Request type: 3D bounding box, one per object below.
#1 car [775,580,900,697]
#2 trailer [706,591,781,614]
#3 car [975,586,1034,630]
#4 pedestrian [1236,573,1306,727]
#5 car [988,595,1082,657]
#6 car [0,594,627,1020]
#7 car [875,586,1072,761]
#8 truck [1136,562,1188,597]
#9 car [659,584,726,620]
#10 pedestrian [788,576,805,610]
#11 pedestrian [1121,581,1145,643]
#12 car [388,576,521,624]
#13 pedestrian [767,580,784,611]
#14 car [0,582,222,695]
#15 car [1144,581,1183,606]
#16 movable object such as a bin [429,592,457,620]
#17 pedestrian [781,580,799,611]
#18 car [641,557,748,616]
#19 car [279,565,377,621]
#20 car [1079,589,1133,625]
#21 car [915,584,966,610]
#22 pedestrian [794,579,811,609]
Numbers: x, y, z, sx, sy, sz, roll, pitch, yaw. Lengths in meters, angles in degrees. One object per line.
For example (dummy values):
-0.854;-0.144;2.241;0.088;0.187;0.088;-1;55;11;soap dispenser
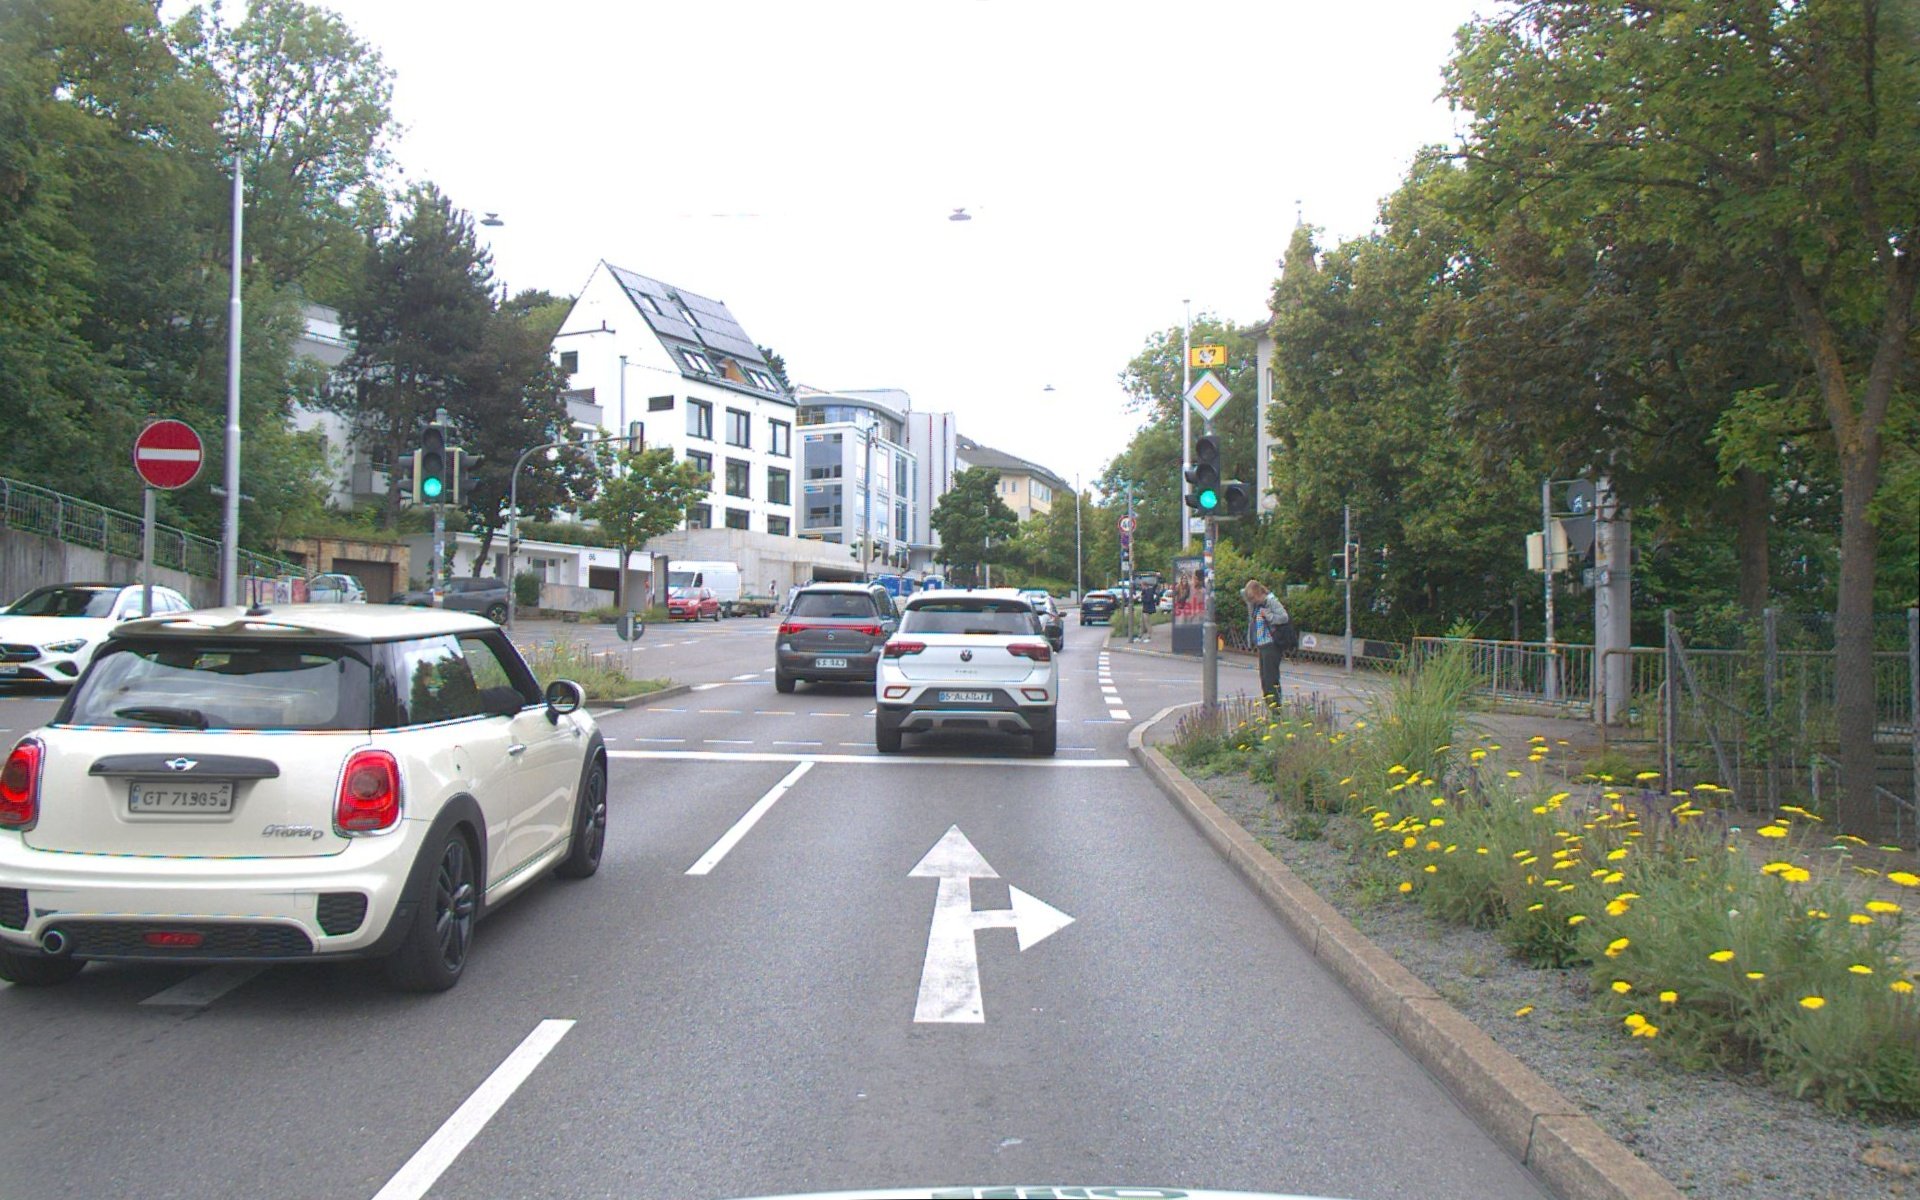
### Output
-1.860;0.534;26.252;1.776;1.681;4.634;0;1;-2;car
-10.898;0.115;83.659;2.198;1.131;4.626;0;1;14;trailer
1.805;0.280;65.508;1.818;1.681;4.640;0;1;8;car
3.552;0.562;18.877;0.679;1.718;0.620;-1;-1;20;pedestrian
2.138;0.690;45.825;1.833;1.527;4.559;3;0;12;car
-2.644;0.695;7.390;1.594;1.417;3.566;0;1;0;car
0.040;0.652;16.843;1.775;1.566;3.688;0;1;-3;car
18.270;-1.802;149.140;2.899;3.023;8.982;1;1;19;truck
-11.433;0.069;70.920;1.587;1.491;3.930;0;1;10;car
-9.023;-0.384;91.200;0.668;1.872;0.664;2;1;-34;pedestrian
5.330;0.362;50.935;0.678;1.866;0.620;2;0;6;pedestrian
-16.950;-0.003;55.459;4.070;1.567;1.585;0;0;-27;car
-10.004;-0.242;89.799;0.613;1.669;0.672;2;1;21;pedestrian
-12.101;0.458;23.125;1.683;1.417;4.606;0;1;-3;car
12.674;-0.400;102.699;1.818;1.526;4.059;0;1;15;car
-19.504;0.228;62.399;0.628;1.029;0.728;2;0;35;movable object such as a bin
-9.249;-0.229;90.070;0.668;1.669;0.664;2;1;-34;pedestrian
-12.372;-0.646;77.819;2.184;2.612;7.428;0;1;14;car
-19.417;-0.209;50.795;2.667;1.547;1.552;4;-1;-25;car
6.801;0.339;76.682;1.833;1.527;4.559;4;0;13;car
-1.090;-0.161;95.687;1.617;1.417;4.145;3;1;19;car
-8.782;-0.329;92.278;0.668;1.669;0.664;2;1;-34;pedestrian
